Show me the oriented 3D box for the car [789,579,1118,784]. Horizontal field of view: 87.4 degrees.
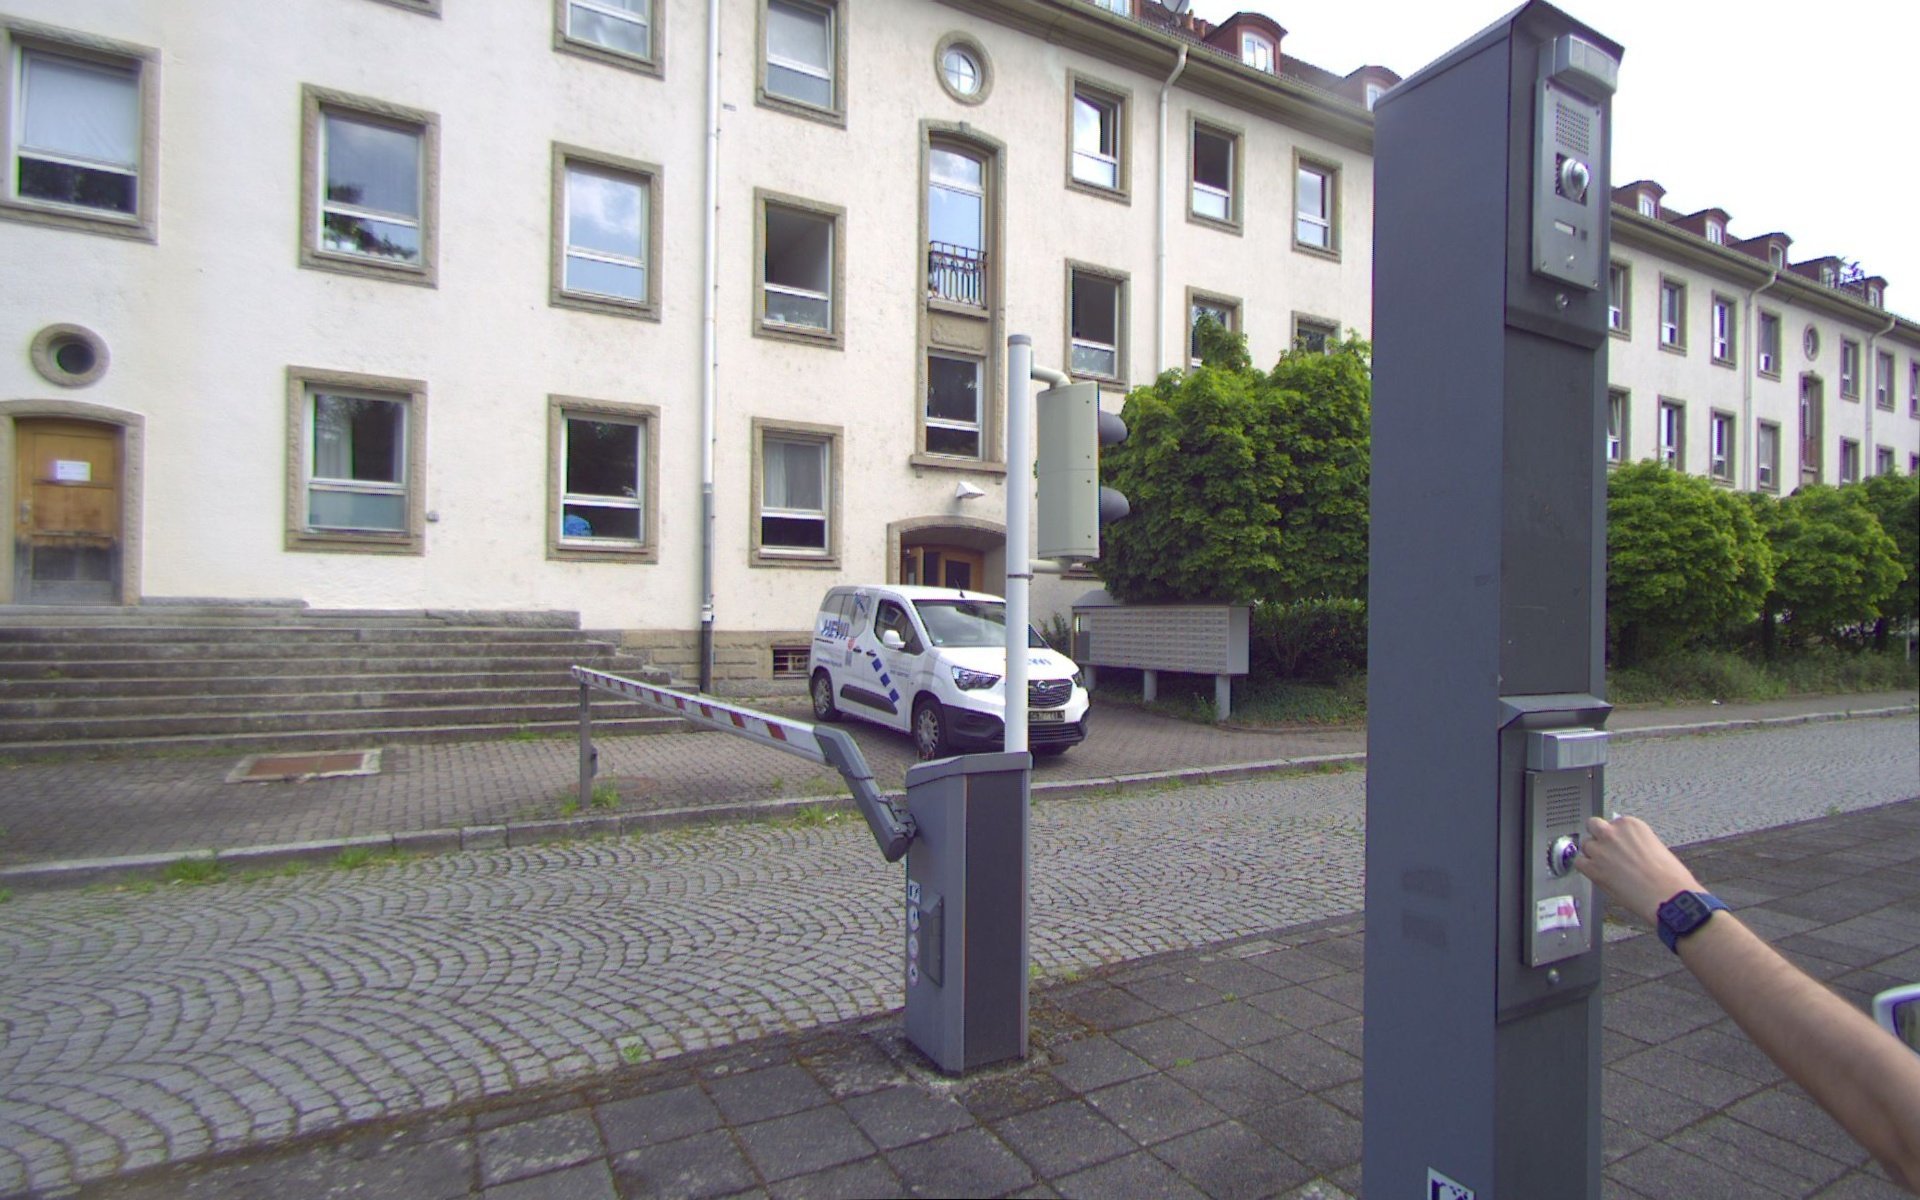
[{"bbox_3d":[-0.309,0.751,11.900,1.838,1.775,4.411,1,3,-32],"label":"car"}]
